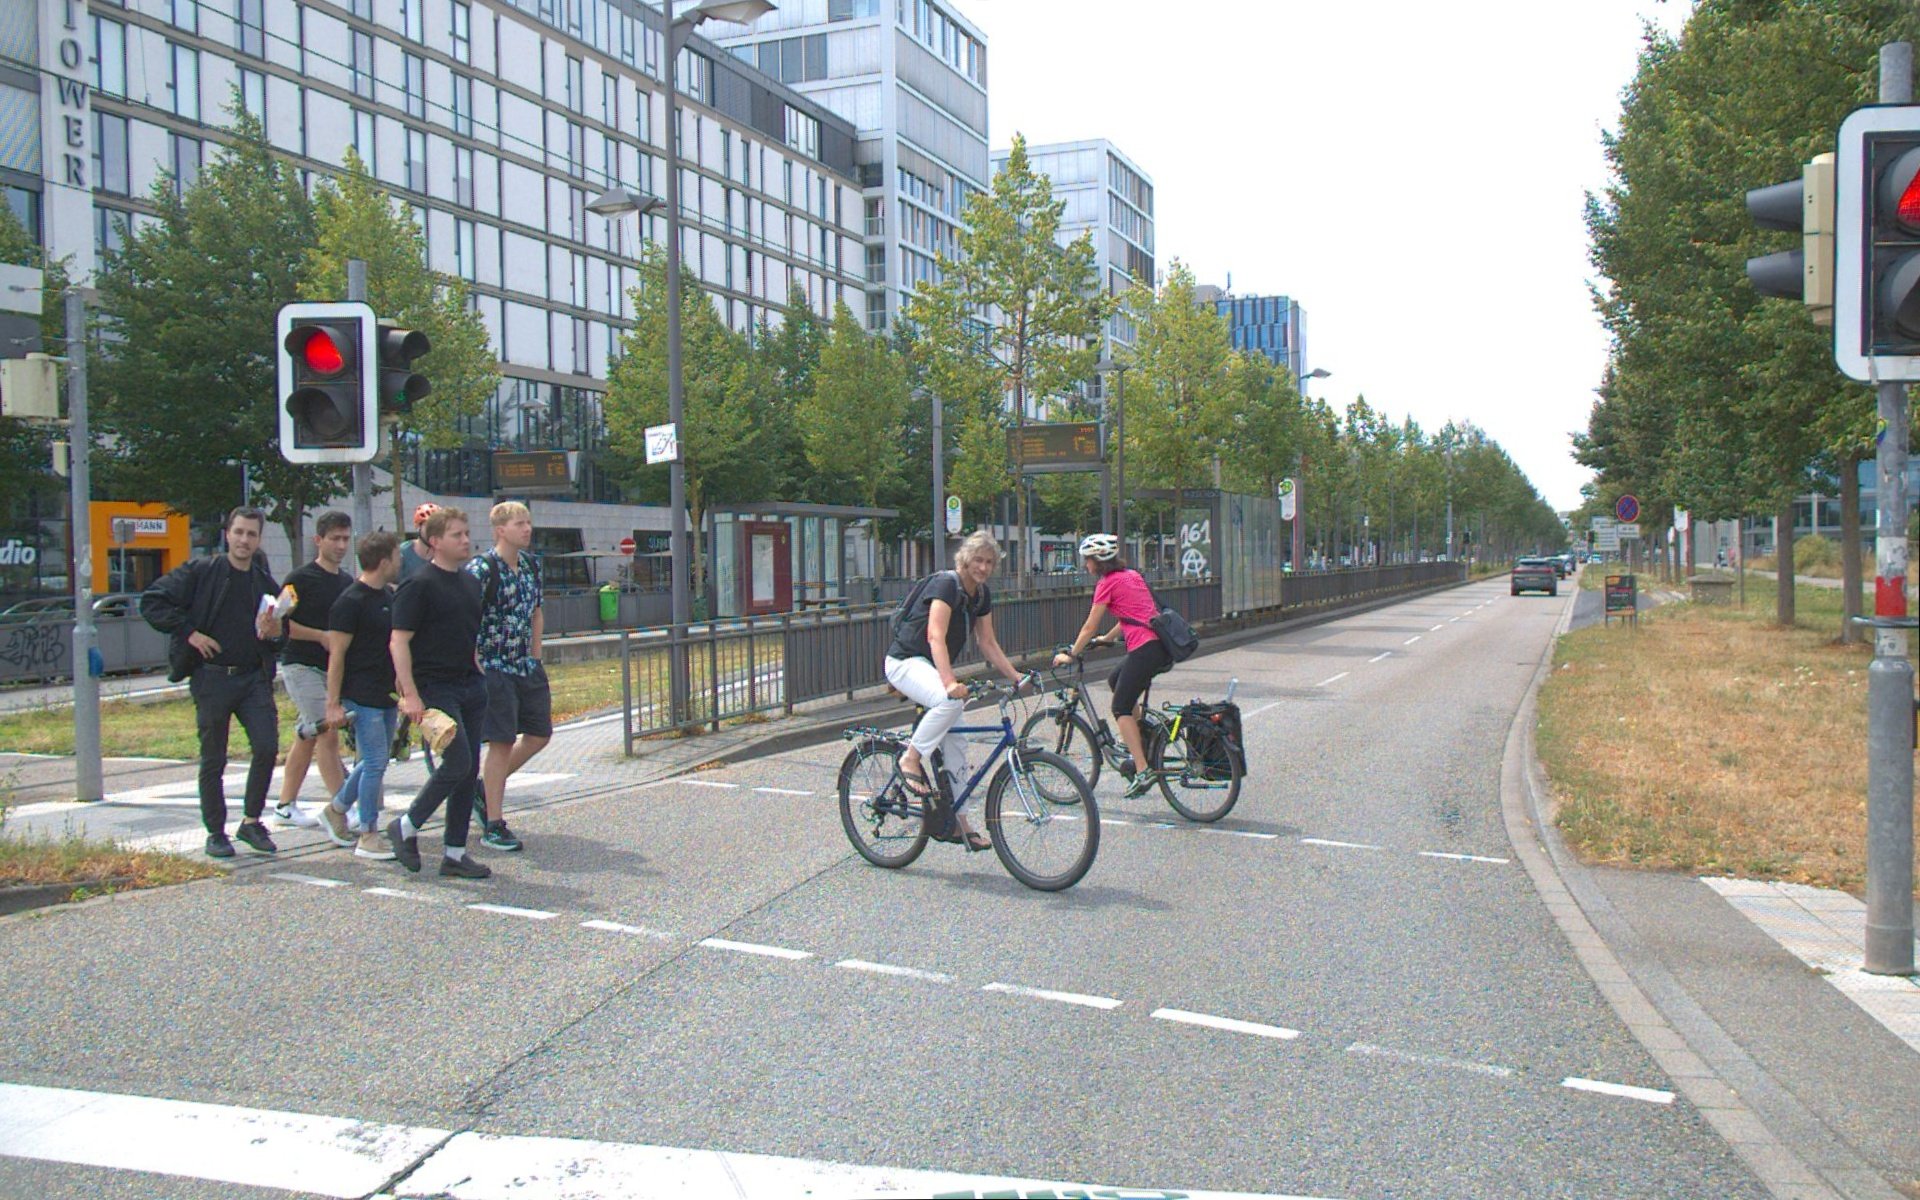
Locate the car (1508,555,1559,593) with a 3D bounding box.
[{"bbox_3d":[25.002,-1.159,72.047,2.015,1.578,4.476,0,1,20],"label":"car"}]

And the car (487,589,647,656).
[{"bbox_3d":[-9.560,0.515,40.543,1.805,1.483,3.999,0,1,23],"label":"car"}]

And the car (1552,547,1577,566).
[{"bbox_3d":[50.304,-3.604,137.694,1.786,1.488,4.262,-1,1,18],"label":"car"}]

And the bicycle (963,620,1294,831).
[{"bbox_3d":[1.045,0.743,10.587,2.003,1.188,0.787,0,1,40],"label":"bicycle"}]

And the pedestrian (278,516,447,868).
[{"bbox_3d":[-3.209,0.470,8.922,0.539,1.812,0.691,0,1,15],"label":"pedestrian"}]

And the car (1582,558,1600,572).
[{"bbox_3d":[79.991,-4.422,209.621,1.953,1.646,4.750,-1,1,24],"label":"car"}]

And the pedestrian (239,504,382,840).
[{"bbox_3d":[-3.789,0.405,9.669,0.539,1.894,0.531,0,1,15],"label":"pedestrian"}]

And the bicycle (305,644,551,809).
[{"bbox_3d":[-3.708,0.843,11.488,1.718,1.024,0.653,0,1,31],"label":"bicycle"}]

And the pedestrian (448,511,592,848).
[{"bbox_3d":[-2.451,0.426,9.245,0.539,1.812,0.581,0,1,15],"label":"pedestrian"}]

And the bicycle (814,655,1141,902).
[{"bbox_3d":[0.057,0.847,8.358,1.681,1.077,0.546,0,1,39],"label":"bicycle"}]

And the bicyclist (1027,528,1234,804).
[{"bbox_3d":[1.087,0.385,10.541,1.030,1.655,0.787,0,1,41],"label":"bicyclist"}]

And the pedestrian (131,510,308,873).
[{"bbox_3d":[-3.856,0.455,8.643,0.539,1.812,0.634,0,1,15],"label":"pedestrian"}]

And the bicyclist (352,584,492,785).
[{"bbox_3d":[-3.739,0.562,11.509,0.660,1.340,0.639,0,1,31],"label":"bicyclist"}]

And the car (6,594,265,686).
[{"bbox_3d":[-14.865,0.667,30.063,1.805,1.483,3.999,0,1,23],"label":"car"}]

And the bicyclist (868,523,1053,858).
[{"bbox_3d":[0.002,0.430,8.393,0.751,1.608,0.558,0,1,39],"label":"bicyclist"}]

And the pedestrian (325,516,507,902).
[{"bbox_3d":[-2.668,0.508,8.157,0.539,1.812,0.691,0,1,15],"label":"pedestrian"}]

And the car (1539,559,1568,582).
[{"bbox_3d":[40.956,-2.044,114.146,1.700,1.545,4.146,-1,1,22],"label":"car"}]
